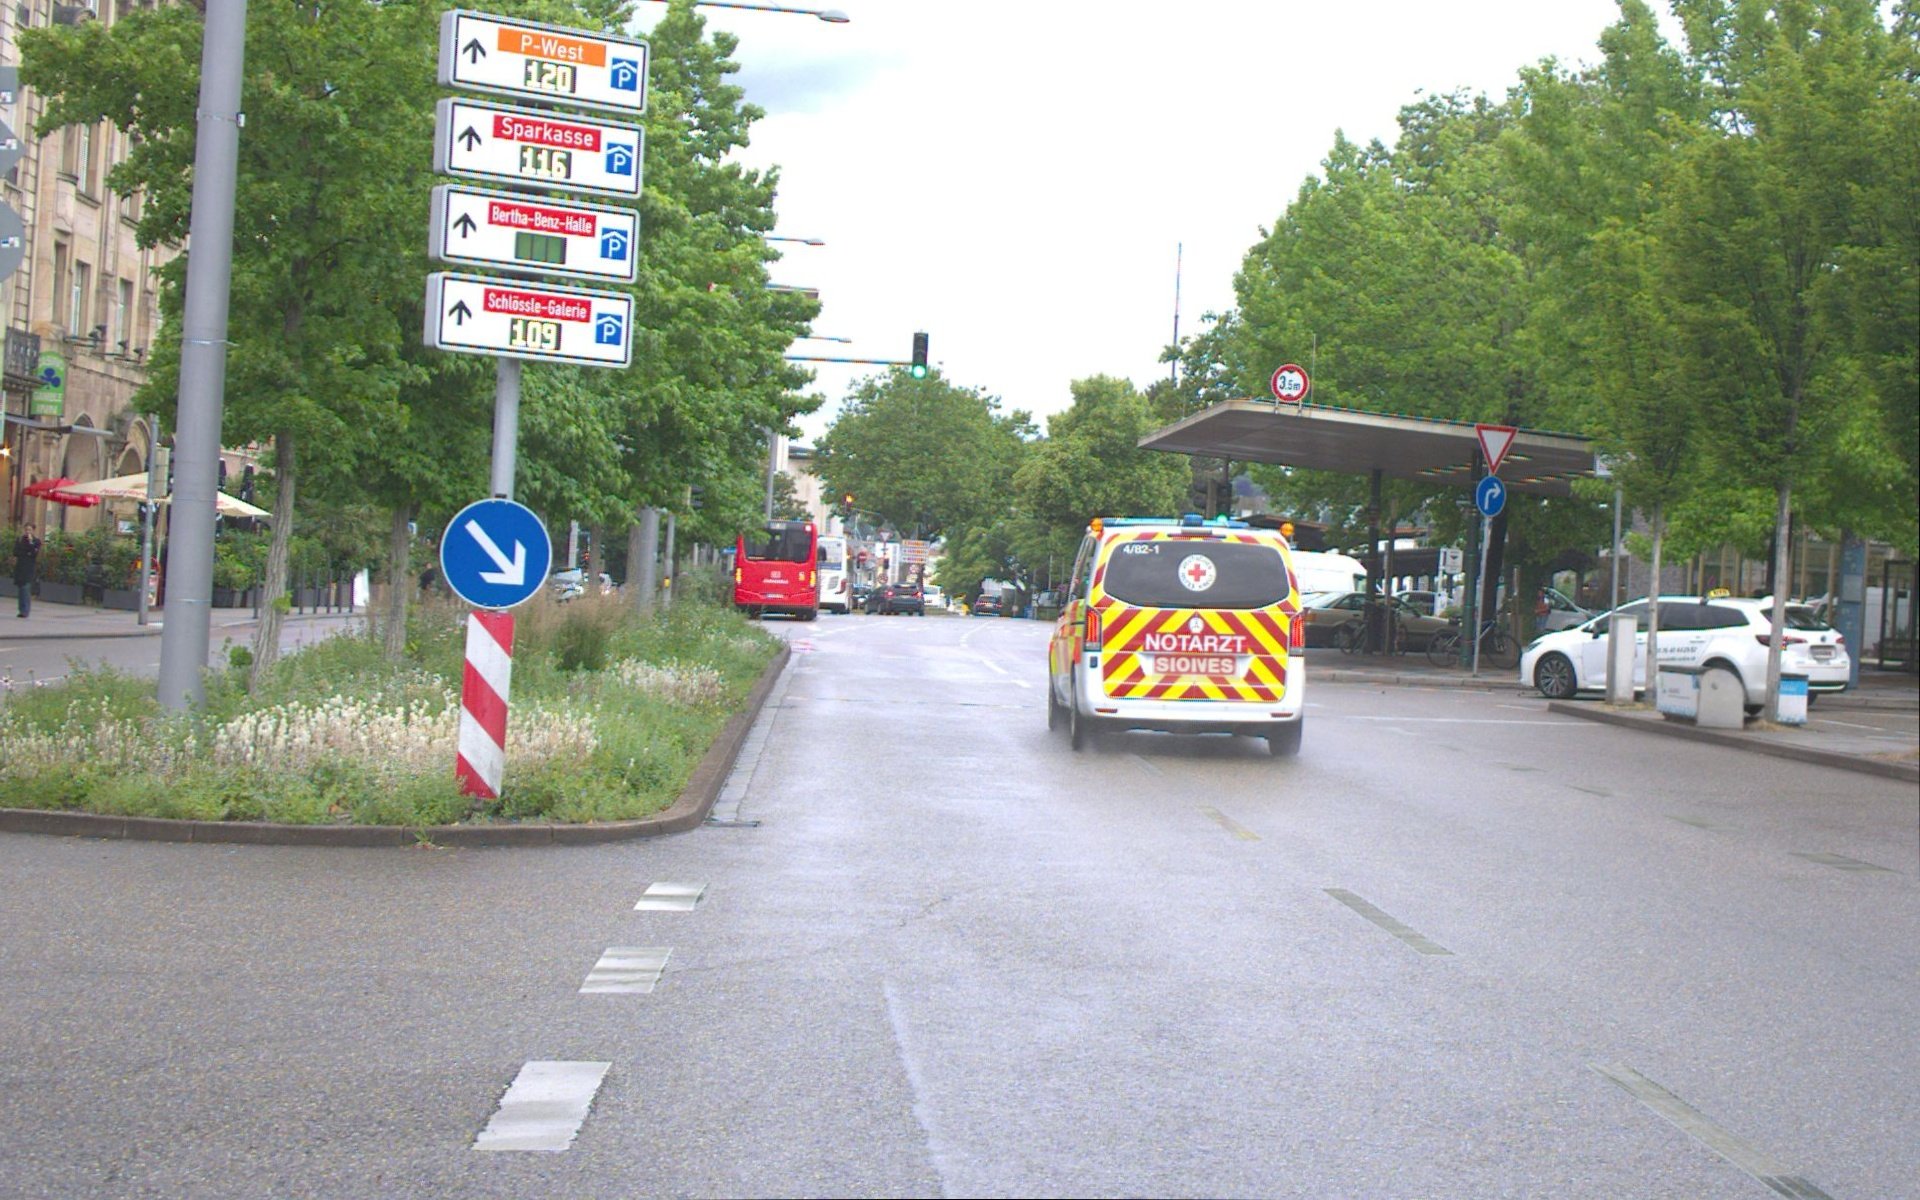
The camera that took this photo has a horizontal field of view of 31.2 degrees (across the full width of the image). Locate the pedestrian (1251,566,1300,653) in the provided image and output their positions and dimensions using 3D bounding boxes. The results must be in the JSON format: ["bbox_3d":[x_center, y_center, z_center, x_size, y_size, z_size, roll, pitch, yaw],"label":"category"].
[{"bbox_3d":[6.746,0.208,73.610,0.856,1.829,1.190,2,-1,-2],"label":"pedestrian"}]

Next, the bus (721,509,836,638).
[{"bbox_3d":[-5.935,-0.845,112.746,3.544,3.966,11.172,1,0,-3],"label":"bus"}]

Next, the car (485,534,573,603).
[{"bbox_3d":[-12.907,-0.922,103.257,1.993,2.007,5.001,1,0,0],"label":"car"}]

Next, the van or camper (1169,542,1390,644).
[{"bbox_3d":[9.014,-0.177,96.954,5.946,2.753,2.199,1,0,-28],"label":"van or camper"}]

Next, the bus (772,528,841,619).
[{"bbox_3d":[-6.658,-1.122,147.838,2.805,3.734,10.446,1,0,-3],"label":"bus"}]

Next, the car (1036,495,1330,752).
[{"bbox_3d":[1.825,0.185,29.801,1.993,2.007,5.062,1,0,-2],"label":"car"}]

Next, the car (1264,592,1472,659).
[{"bbox_3d":[9.069,0.563,76.486,4.184,1.321,1.841,2,-1,-21],"label":"car"}]

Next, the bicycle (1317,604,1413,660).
[{"bbox_3d":[7.789,0.618,66.119,1.827,1.052,0.420,1,0,-19],"label":"bicycle"}]

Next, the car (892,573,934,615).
[{"bbox_3d":[-2.280,-0.294,166.786,1.993,2.007,4.000,1,0,-1],"label":"car"}]

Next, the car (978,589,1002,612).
[{"bbox_3d":[2.081,0.034,239.223,1.595,1.555,3.650,1,0,-1],"label":"car"}]

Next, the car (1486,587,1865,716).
[{"bbox_3d":[9.390,0.659,45.456,1.758,1.540,4.775,2,0,-41],"label":"car"}]

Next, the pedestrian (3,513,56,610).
[{"bbox_3d":[-16.037,-0.663,59.266,0.681,1.658,0.807,1,0,-1],"label":"pedestrian"}]

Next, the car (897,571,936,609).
[{"bbox_3d":[-2.313,-0.527,182.551,1.993,2.007,4.000,1,0,-1],"label":"car"}]

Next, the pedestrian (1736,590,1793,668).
[{"bbox_3d":[16.275,0.589,69.574,0.865,1.553,0.814,1,0,-8],"label":"pedestrian"}]

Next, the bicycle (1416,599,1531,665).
[{"bbox_3d":[8.541,0.530,57.177,1.827,1.052,0.420,1,0,-1],"label":"bicycle"}]

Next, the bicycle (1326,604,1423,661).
[{"bbox_3d":[7.913,0.620,65.674,1.827,1.052,0.420,1,0,-19],"label":"bicycle"}]

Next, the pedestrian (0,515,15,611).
[{"bbox_3d":[-16.767,-0.638,59.259,0.681,1.658,0.807,1,0,2],"label":"pedestrian"}]
